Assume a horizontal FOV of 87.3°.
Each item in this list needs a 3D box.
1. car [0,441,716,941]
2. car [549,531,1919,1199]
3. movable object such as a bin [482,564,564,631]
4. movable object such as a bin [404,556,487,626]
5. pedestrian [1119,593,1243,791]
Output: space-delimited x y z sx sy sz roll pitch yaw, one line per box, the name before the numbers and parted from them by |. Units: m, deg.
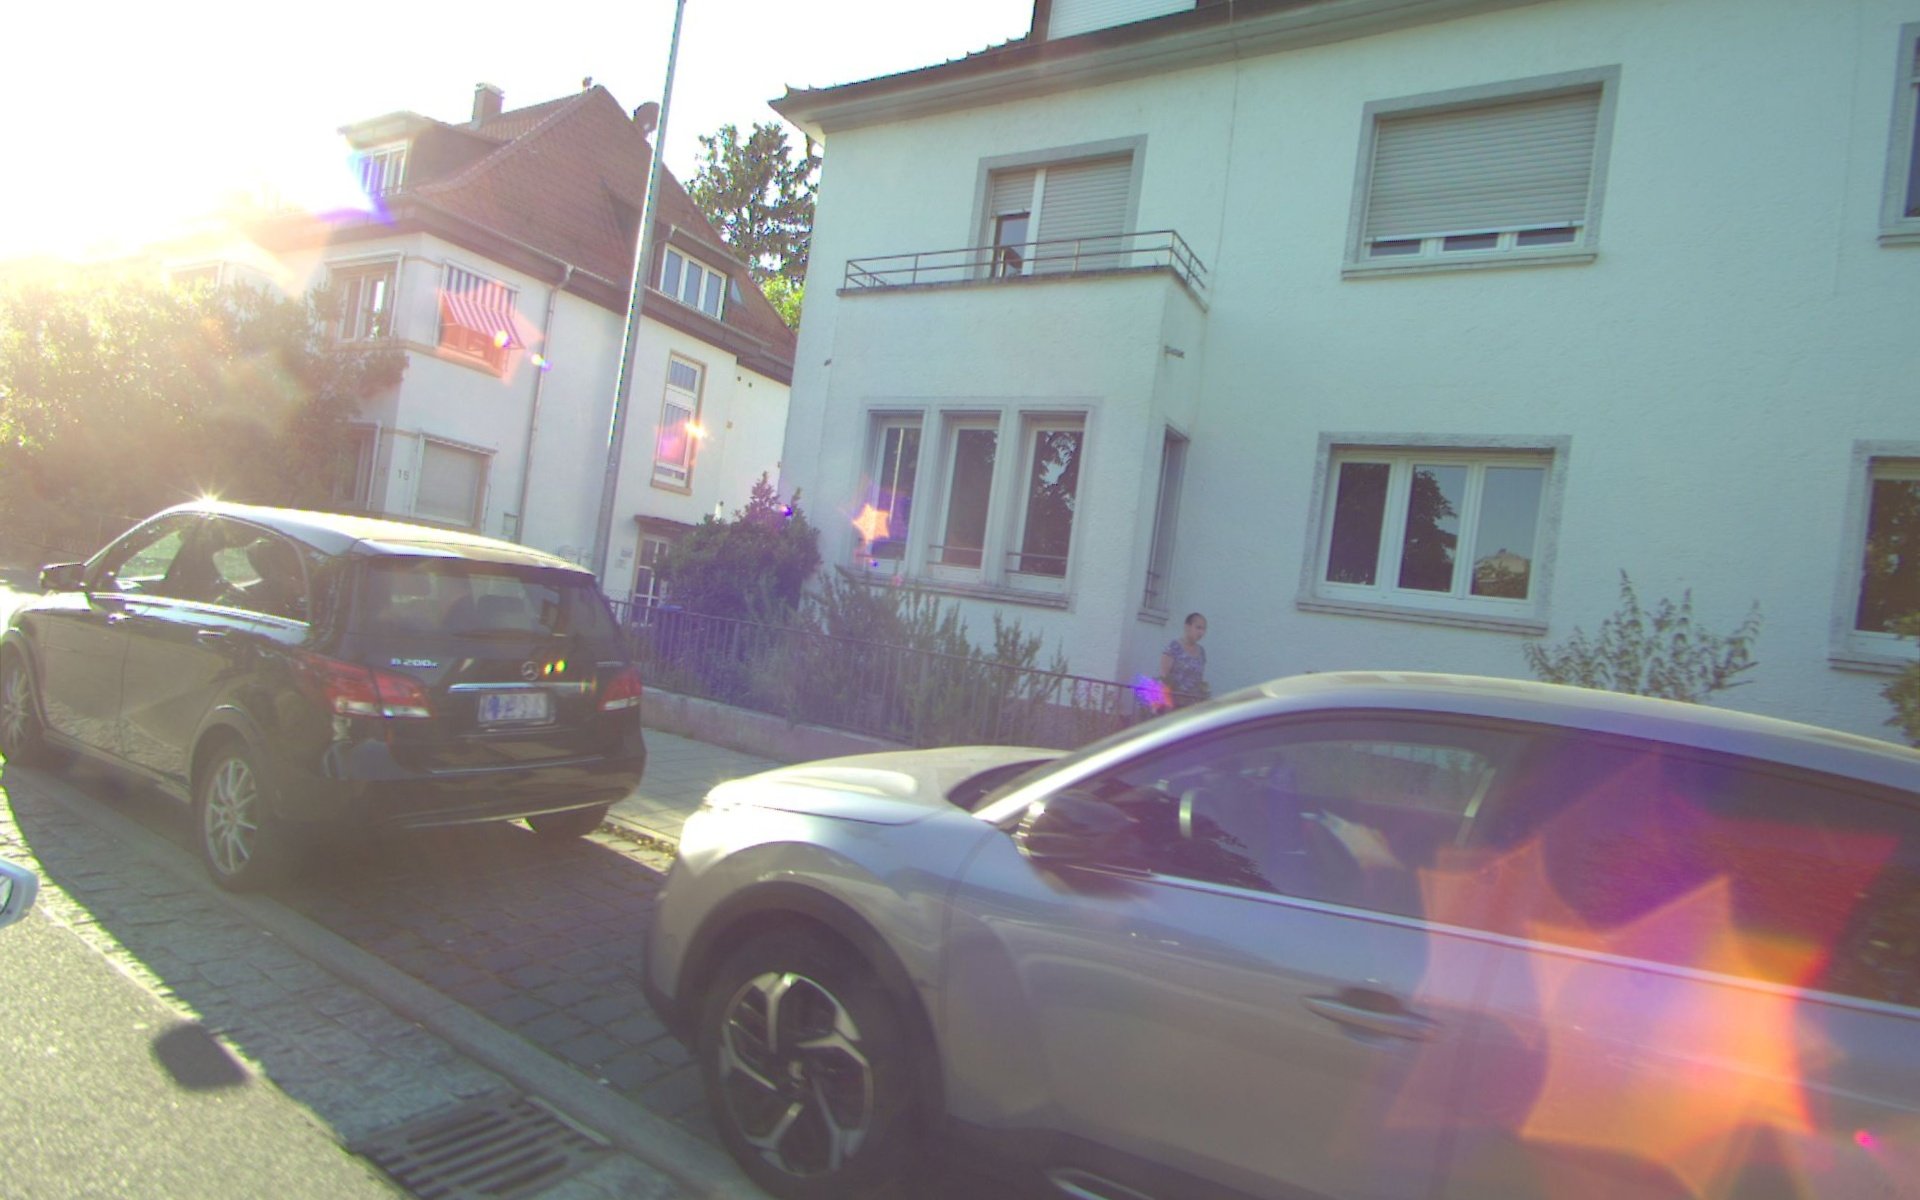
car | -3.645 0.191 5.579 4.342 1.707 1.833 8 2 32
car | 1.111 0.860 2.627 4.137 1.594 1.720 7 1 29
movable object such as a bin | -8.479 -0.038 19.550 0.777 1.112 1.086 7 -2 35
movable object such as a bin | -9.425 -0.159 18.436 0.777 1.112 0.986 7 -2 36
pedestrian | 1.910 0.788 8.713 0.591 1.596 0.625 9 -2 -32
